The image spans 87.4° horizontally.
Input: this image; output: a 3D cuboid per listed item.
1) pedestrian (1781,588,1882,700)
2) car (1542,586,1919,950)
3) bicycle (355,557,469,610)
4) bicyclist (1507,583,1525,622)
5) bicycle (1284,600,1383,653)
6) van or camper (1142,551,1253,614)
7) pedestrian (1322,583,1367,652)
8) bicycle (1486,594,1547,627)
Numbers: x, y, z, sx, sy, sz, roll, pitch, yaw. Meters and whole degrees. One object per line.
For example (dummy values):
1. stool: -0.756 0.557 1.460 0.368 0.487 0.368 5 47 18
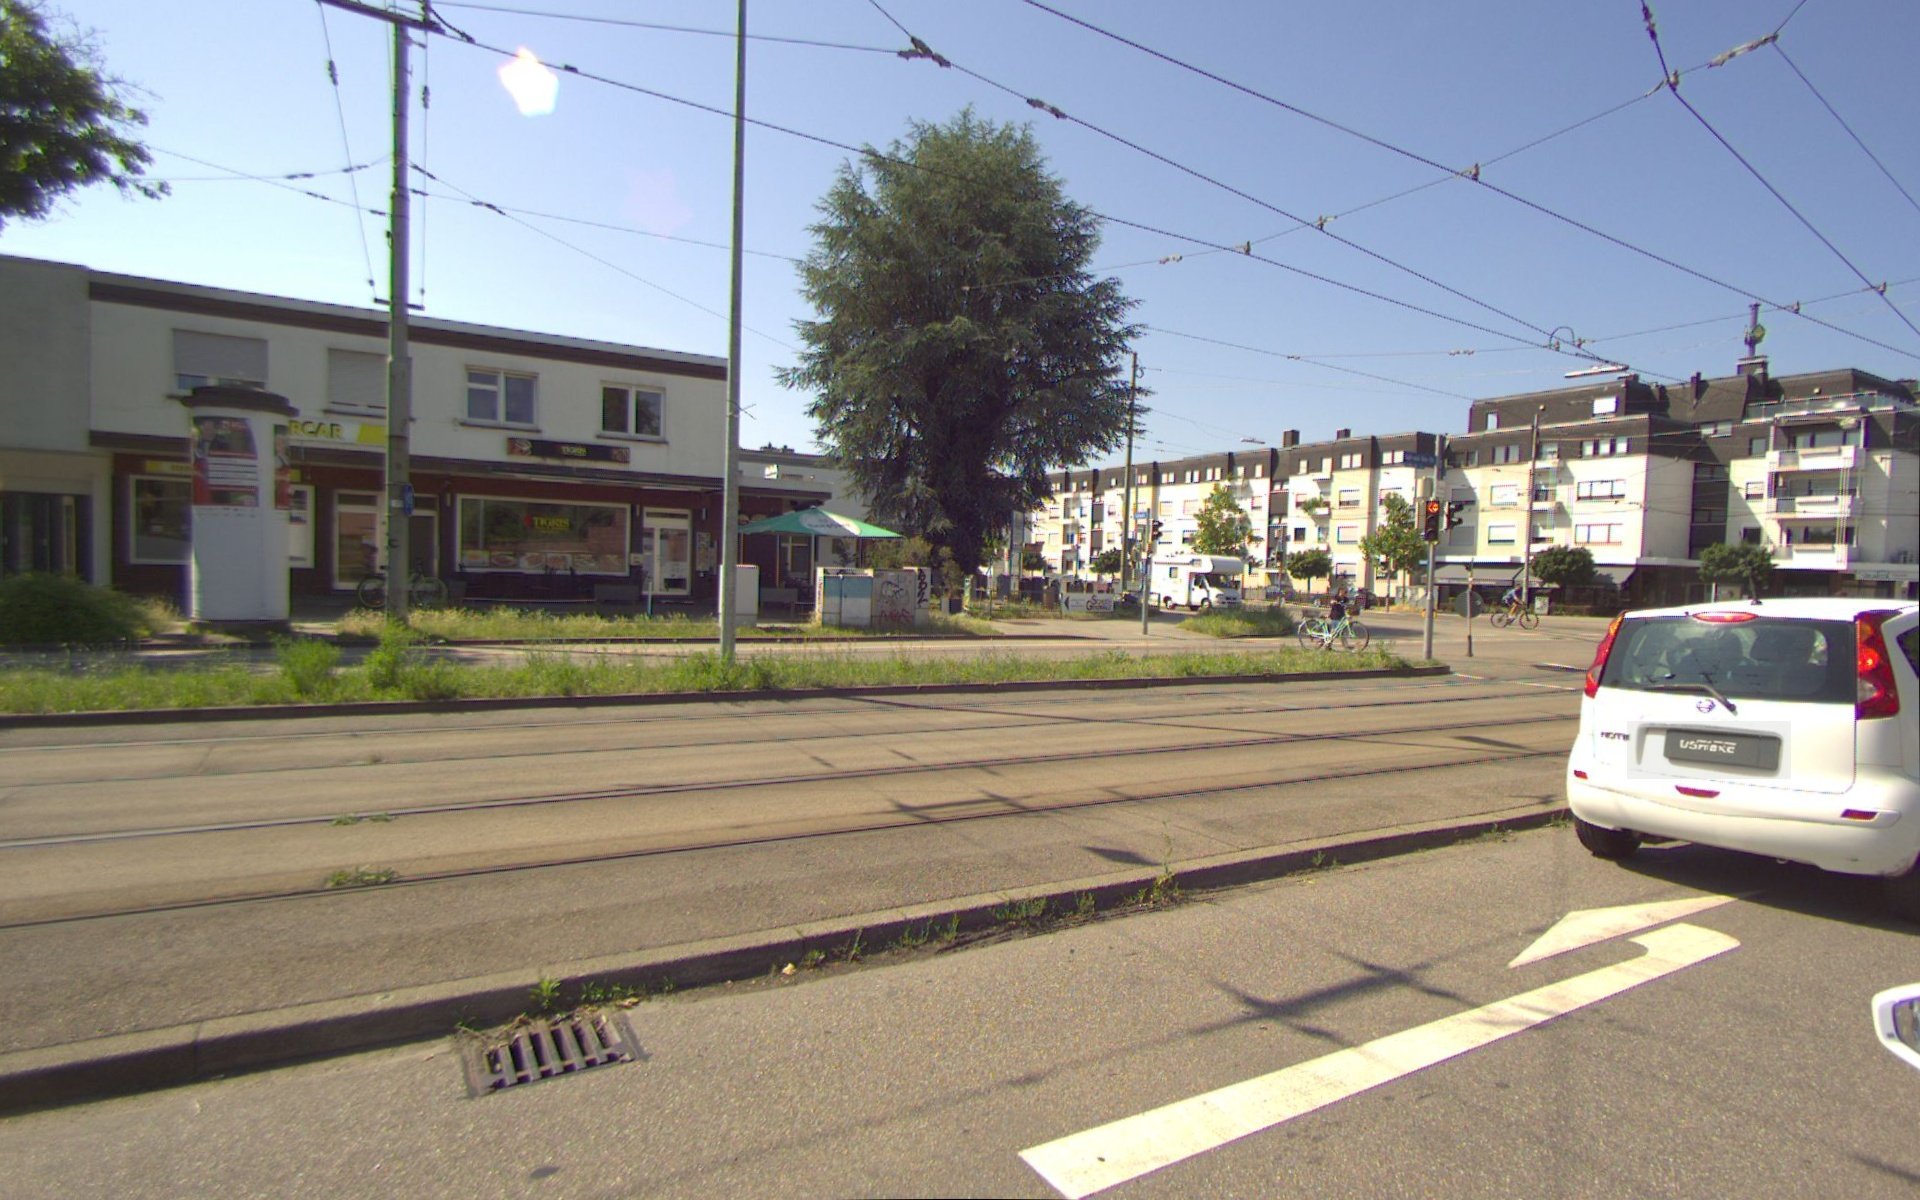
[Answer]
1. pedestrian: 13.551 0.662 15.628 0.946 1.673 0.965 2 0 -34
2. car: 5.384 0.725 6.043 3.759 1.587 1.634 0 1 -31
3. bicycle: -12.948 -0.378 23.786 2.306 1.167 0.783 1 0 -30
4. bicyclist: 23.168 0.107 41.854 0.627 1.634 0.562 2 0 29
5. bicycle: 8.576 0.578 23.122 0.705 1.105 1.999 0 2 -44
6. van or camper: 12.624 -0.908 53.846 2.545 3.133 5.656 2 -1 -30
7. pedestrian: 9.009 0.402 23.538 0.671 1.593 0.738 0 1 -44
8. bicycle: 23.164 0.423 41.848 2.209 1.314 0.559 1 0 29
